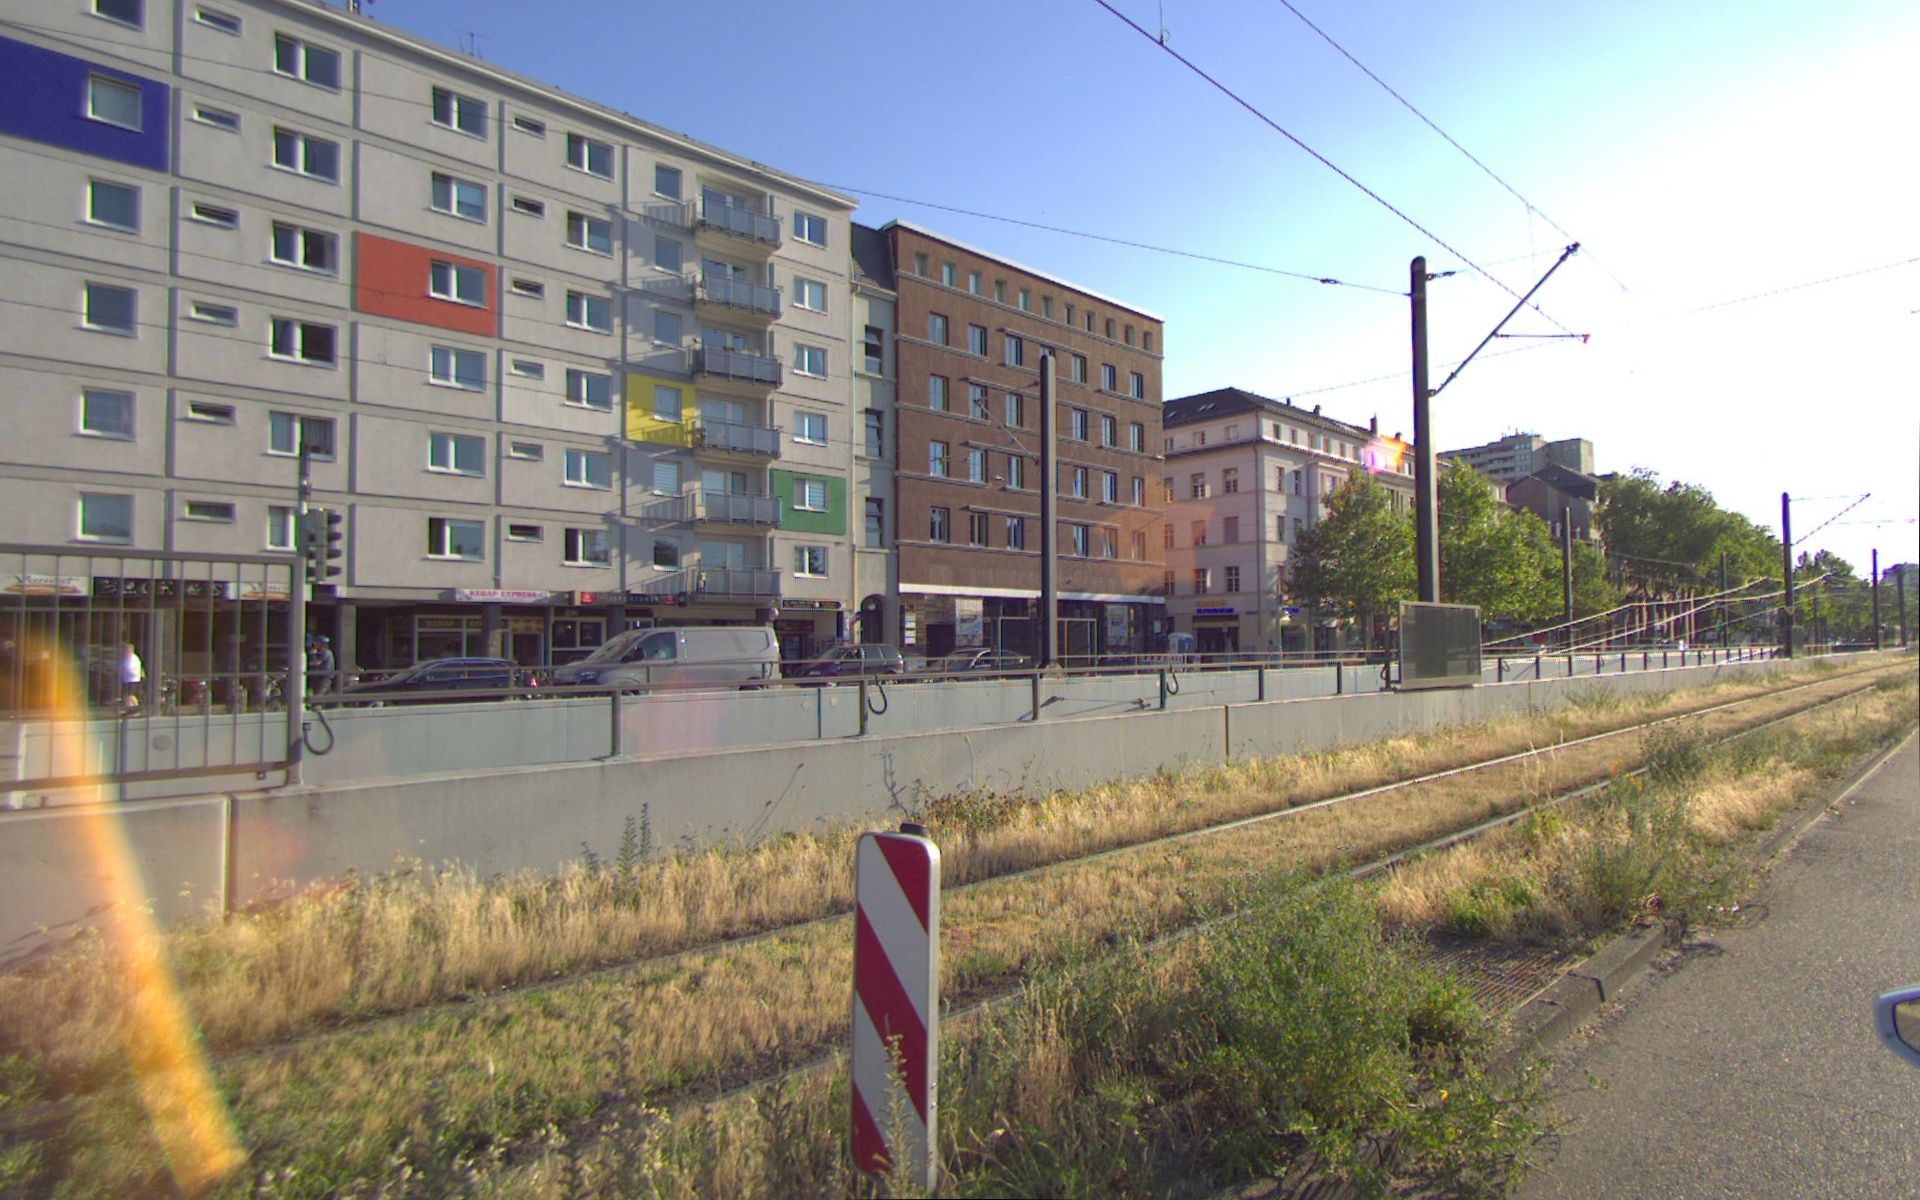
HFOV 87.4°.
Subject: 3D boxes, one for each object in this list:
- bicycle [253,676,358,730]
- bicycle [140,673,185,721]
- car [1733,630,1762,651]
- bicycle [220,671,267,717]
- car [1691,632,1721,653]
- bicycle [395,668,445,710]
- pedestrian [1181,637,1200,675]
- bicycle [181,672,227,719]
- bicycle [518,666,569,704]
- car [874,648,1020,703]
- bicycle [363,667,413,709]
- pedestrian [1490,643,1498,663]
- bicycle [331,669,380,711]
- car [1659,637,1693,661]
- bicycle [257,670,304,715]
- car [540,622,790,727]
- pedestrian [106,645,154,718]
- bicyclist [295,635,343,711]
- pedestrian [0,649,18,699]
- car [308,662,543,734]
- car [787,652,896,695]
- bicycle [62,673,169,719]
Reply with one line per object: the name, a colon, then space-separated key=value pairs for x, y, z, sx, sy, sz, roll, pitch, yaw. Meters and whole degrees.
bicycle: x=-14.211 y=2.206 z=21.827 sx=1.769 sy=1.111 sz=0.940 roll=3 pitch=-5 yaw=-41
bicycle: x=-19.403 y=2.333 z=24.432 sx=0.731 sy=1.065 sz=2.272 roll=2 pitch=-3 yaw=-41
car: x=77.024 y=3.990 z=98.245 sx=1.972 sy=2.040 sz=3.979 roll=-3 pitch=-3 yaw=42
bicycle: x=-18.250 y=2.369 z=25.567 sx=0.731 sy=1.065 sz=2.272 roll=2 pitch=-3 yaw=-41
car: x=83.651 y=4.774 z=112.631 sx=3.972 sy=2.274 sz=1.975 roll=2 pitch=-3 yaw=-43
bicycle: x=-15.217 y=2.482 z=28.262 sx=0.731 sy=1.065 sz=2.272 roll=2 pitch=-3 yaw=-41
pedestrian: x=12.554 y=3.034 z=54.769 sx=0.724 sy=2.040 sz=0.710 roll=2 pitch=-3 yaw=-45
bicycle: x=-18.825 y=2.351 z=24.993 sx=0.731 sy=1.065 sz=2.272 roll=2 pitch=-3 yaw=-41
bicycle: x=-12.682 y=2.569 z=30.577 sx=0.731 sy=1.065 sz=2.272 roll=2 pitch=-3 yaw=-41
car: x=-0.300 y=2.035 z=27.762 sx=3.887 sy=1.392 sz=1.778 roll=2 pitch=-4 yaw=-44
bicycle: x=-15.808 y=2.413 z=27.724 sx=0.731 sy=1.065 sz=2.272 roll=2 pitch=-3 yaw=-41
pedestrian: x=46.944 y=4.659 z=88.287 sx=0.546 sy=1.731 sz=0.485 roll=1 pitch=-3 yaw=-42
bicycle: x=-16.394 y=2.416 z=27.224 sx=0.731 sy=1.065 sz=2.272 roll=2 pitch=-3 yaw=-41
car: x=61.975 y=4.239 z=86.909 sx=1.972 sy=2.040 sz=3.979 roll=-3 pitch=-3 yaw=42
bicycle: x=-17.688 y=2.380 z=26.124 sx=0.731 sy=1.065 sz=2.272 roll=2 pitch=-3 yaw=-41
car: x=-6.326 y=1.562 z=21.975 sx=4.905 sy=2.040 sz=1.975 roll=2 pitch=-3 yaw=-44
pedestrian: x=-20.679 y=2.021 z=25.029 sx=0.671 sy=1.745 sz=0.610 roll=-3 pitch=-1 yaw=16
bicyclist: x=-14.050 y=1.594 z=22.014 sx=0.733 sy=1.618 sz=0.952 roll=3 pitch=-5 yaw=-41
pedestrian: x=-33.168 y=2.558 z=34.713 sx=0.645 sy=1.694 sz=0.626 roll=-1 pitch=-2 yaw=13
car: x=-11.420 y=2.040 z=21.651 sx=4.172 sy=1.330 sz=1.778 roll=2 pitch=-4 yaw=-44
car: x=-4.502 y=2.772 z=38.398 sx=3.973 sy=1.528 sz=1.674 roll=2 pitch=-3 yaw=-44
bicycle: x=-21.106 y=2.378 z=25.166 sx=0.509 sy=1.105 sz=2.068 roll=-1 pitch=-4 yaw=17
